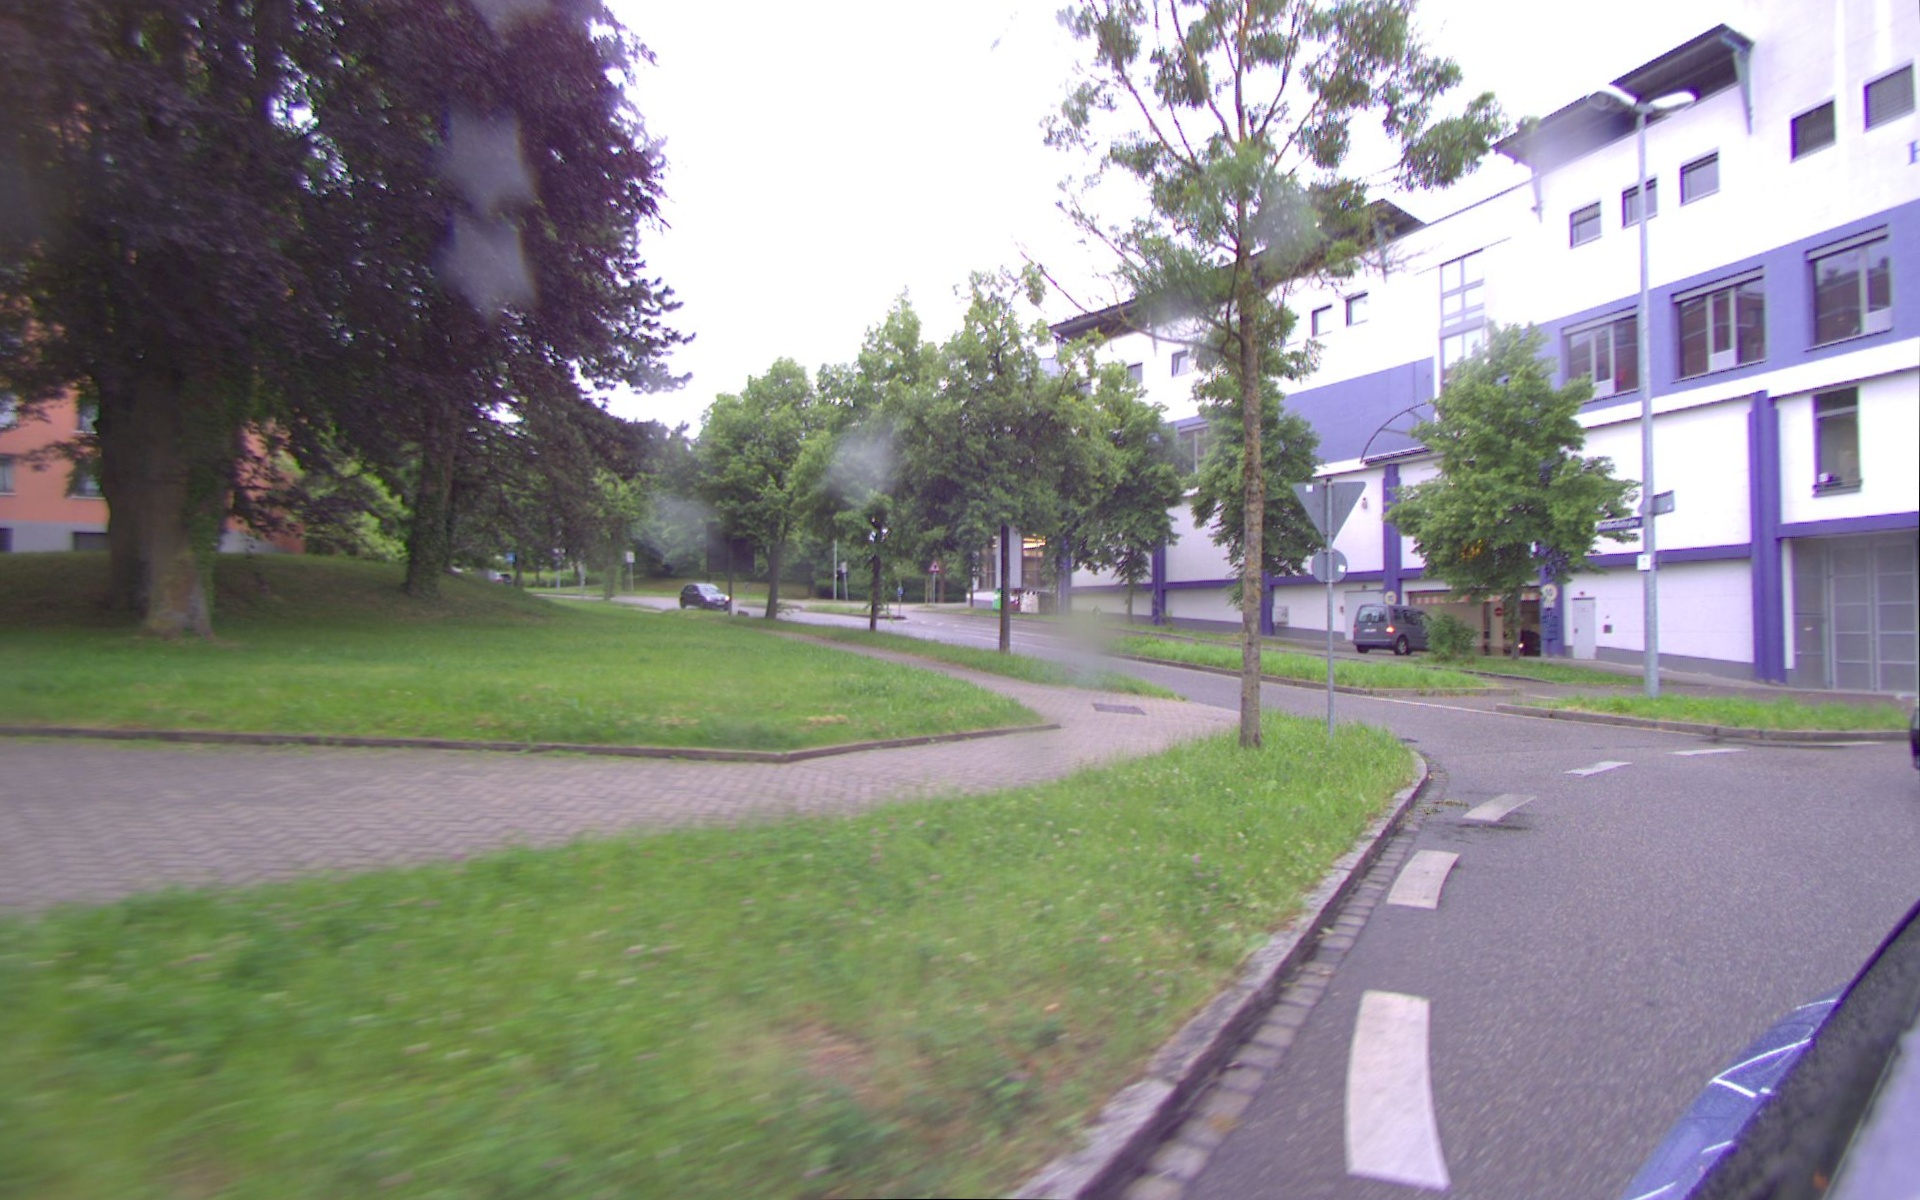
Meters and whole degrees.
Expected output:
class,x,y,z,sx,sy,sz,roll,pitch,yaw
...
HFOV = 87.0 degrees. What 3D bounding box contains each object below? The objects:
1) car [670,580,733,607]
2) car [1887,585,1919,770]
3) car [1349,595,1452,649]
class,x,y,z,sx,sy,sz,roll,pitch,yaw
car,-14.540,-0.371,56.856,3.582,1.459,1.605,2,0,40
car,10.341,0.675,8.634,4.799,1.514,1.847,2,-3,-25
car,16.231,0.801,37.253,3.720,1.824,1.923,1,0,-38
